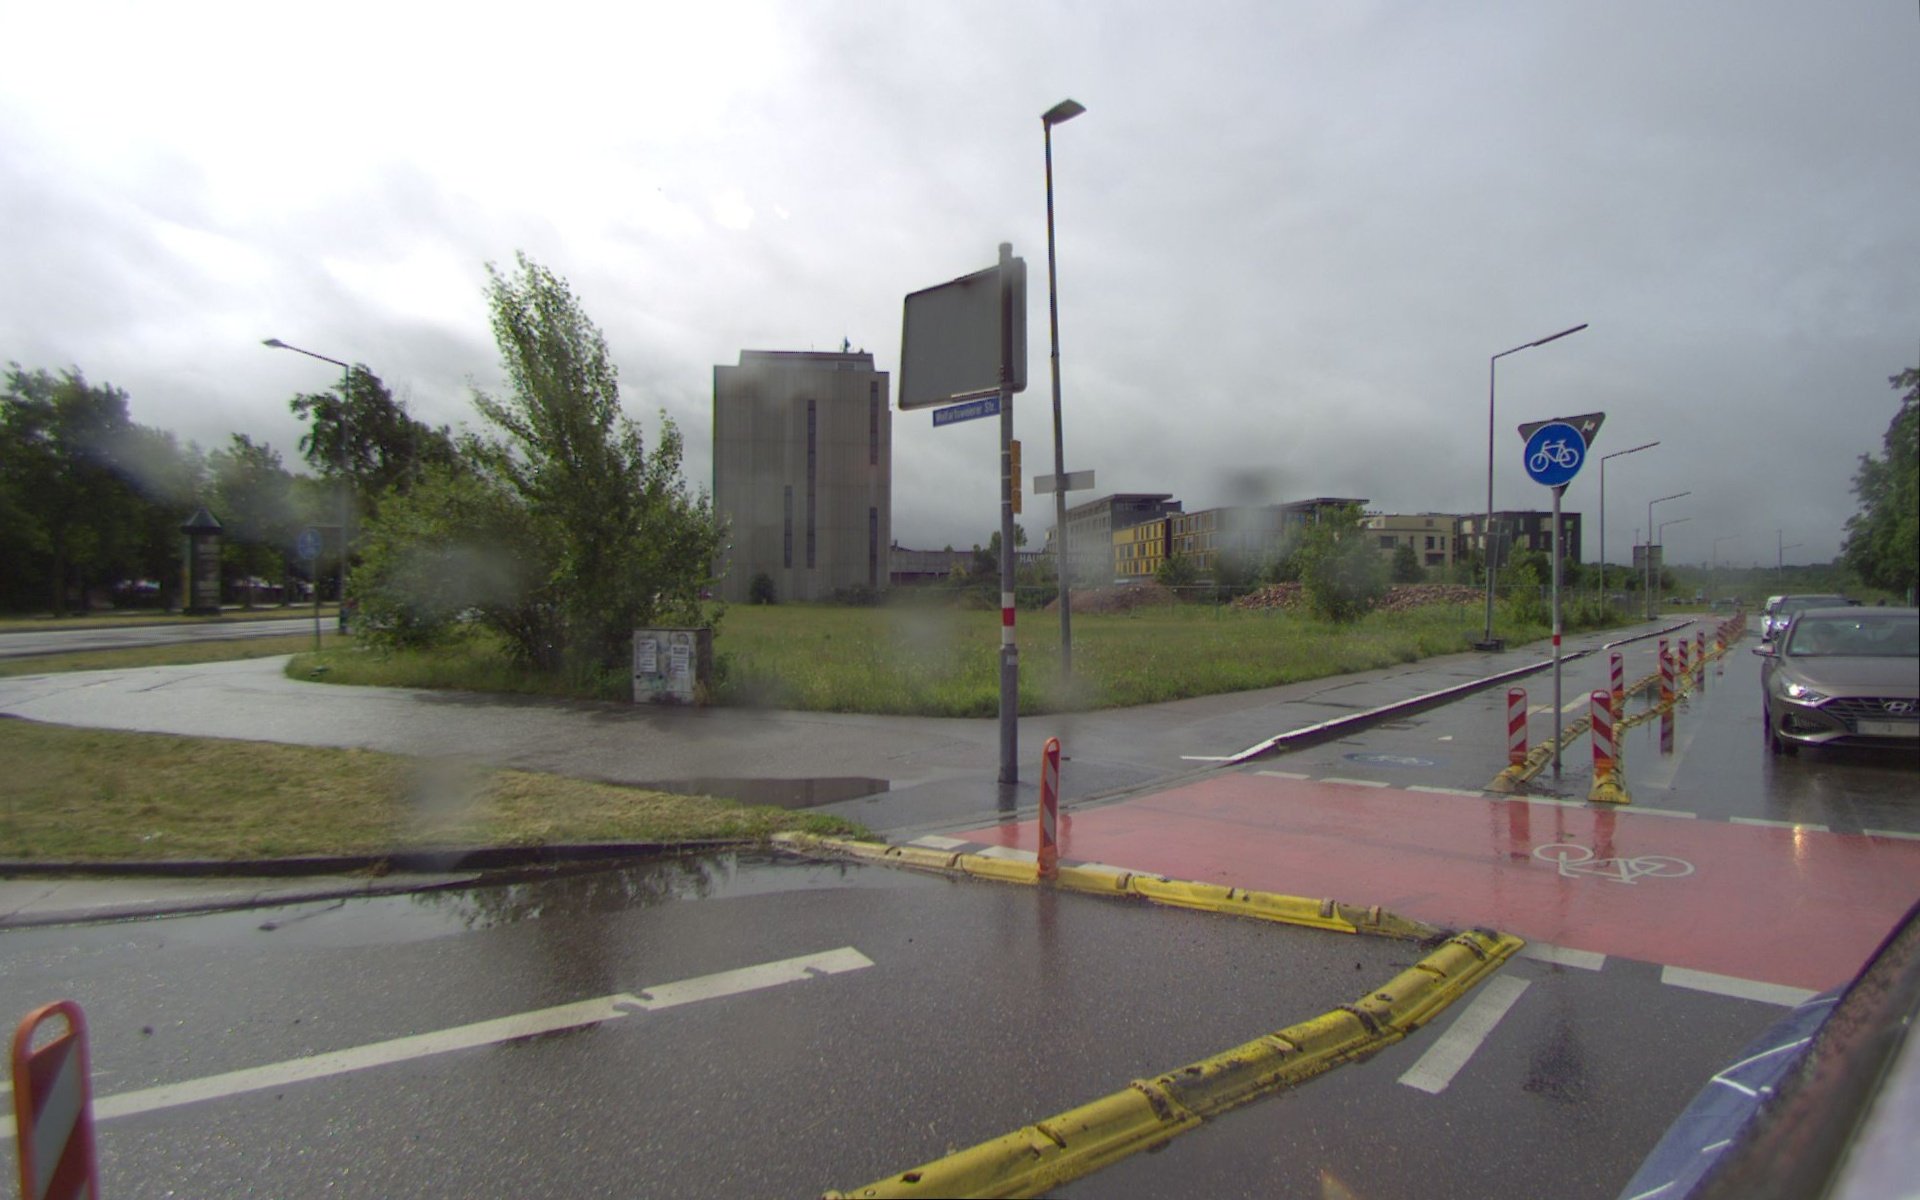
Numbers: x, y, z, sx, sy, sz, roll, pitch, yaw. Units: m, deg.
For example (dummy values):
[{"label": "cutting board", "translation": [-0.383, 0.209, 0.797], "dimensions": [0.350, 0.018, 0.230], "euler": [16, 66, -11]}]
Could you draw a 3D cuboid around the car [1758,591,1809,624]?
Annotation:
[{"label": "car", "translation": [44.869, 0.412, 55.203], "dimensions": [1.864, 1.684, 4.424], "euler": [-2, -2, 36]}]

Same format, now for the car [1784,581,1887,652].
[{"label": "car", "translation": [22.663, 0.398, 26.178], "dimensions": [1.868, 1.684, 4.415], "euler": [-1, -1, 42]}]

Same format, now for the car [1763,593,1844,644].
[{"label": "car", "translation": [30.035, 0.643, 36.134], "dimensions": [1.864, 1.684, 4.424], "euler": [-2, -1, 36]}]

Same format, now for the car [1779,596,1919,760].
[{"label": "car", "translation": [9.648, 0.681, 10.424], "dimensions": [1.728, 1.431, 4.066], "euler": [-1, -1, 41]}]

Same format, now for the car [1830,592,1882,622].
[{"label": "car", "translation": [53.920, 0.392, 60.945], "dimensions": [1.844, 1.730, 3.951], "euler": [1, 1, 34]}]

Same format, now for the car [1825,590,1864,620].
[{"label": "car", "translation": [71.913, 0.425, 82.299], "dimensions": [1.988, 2.364, 3.948], "euler": [1, 0, 36]}]
